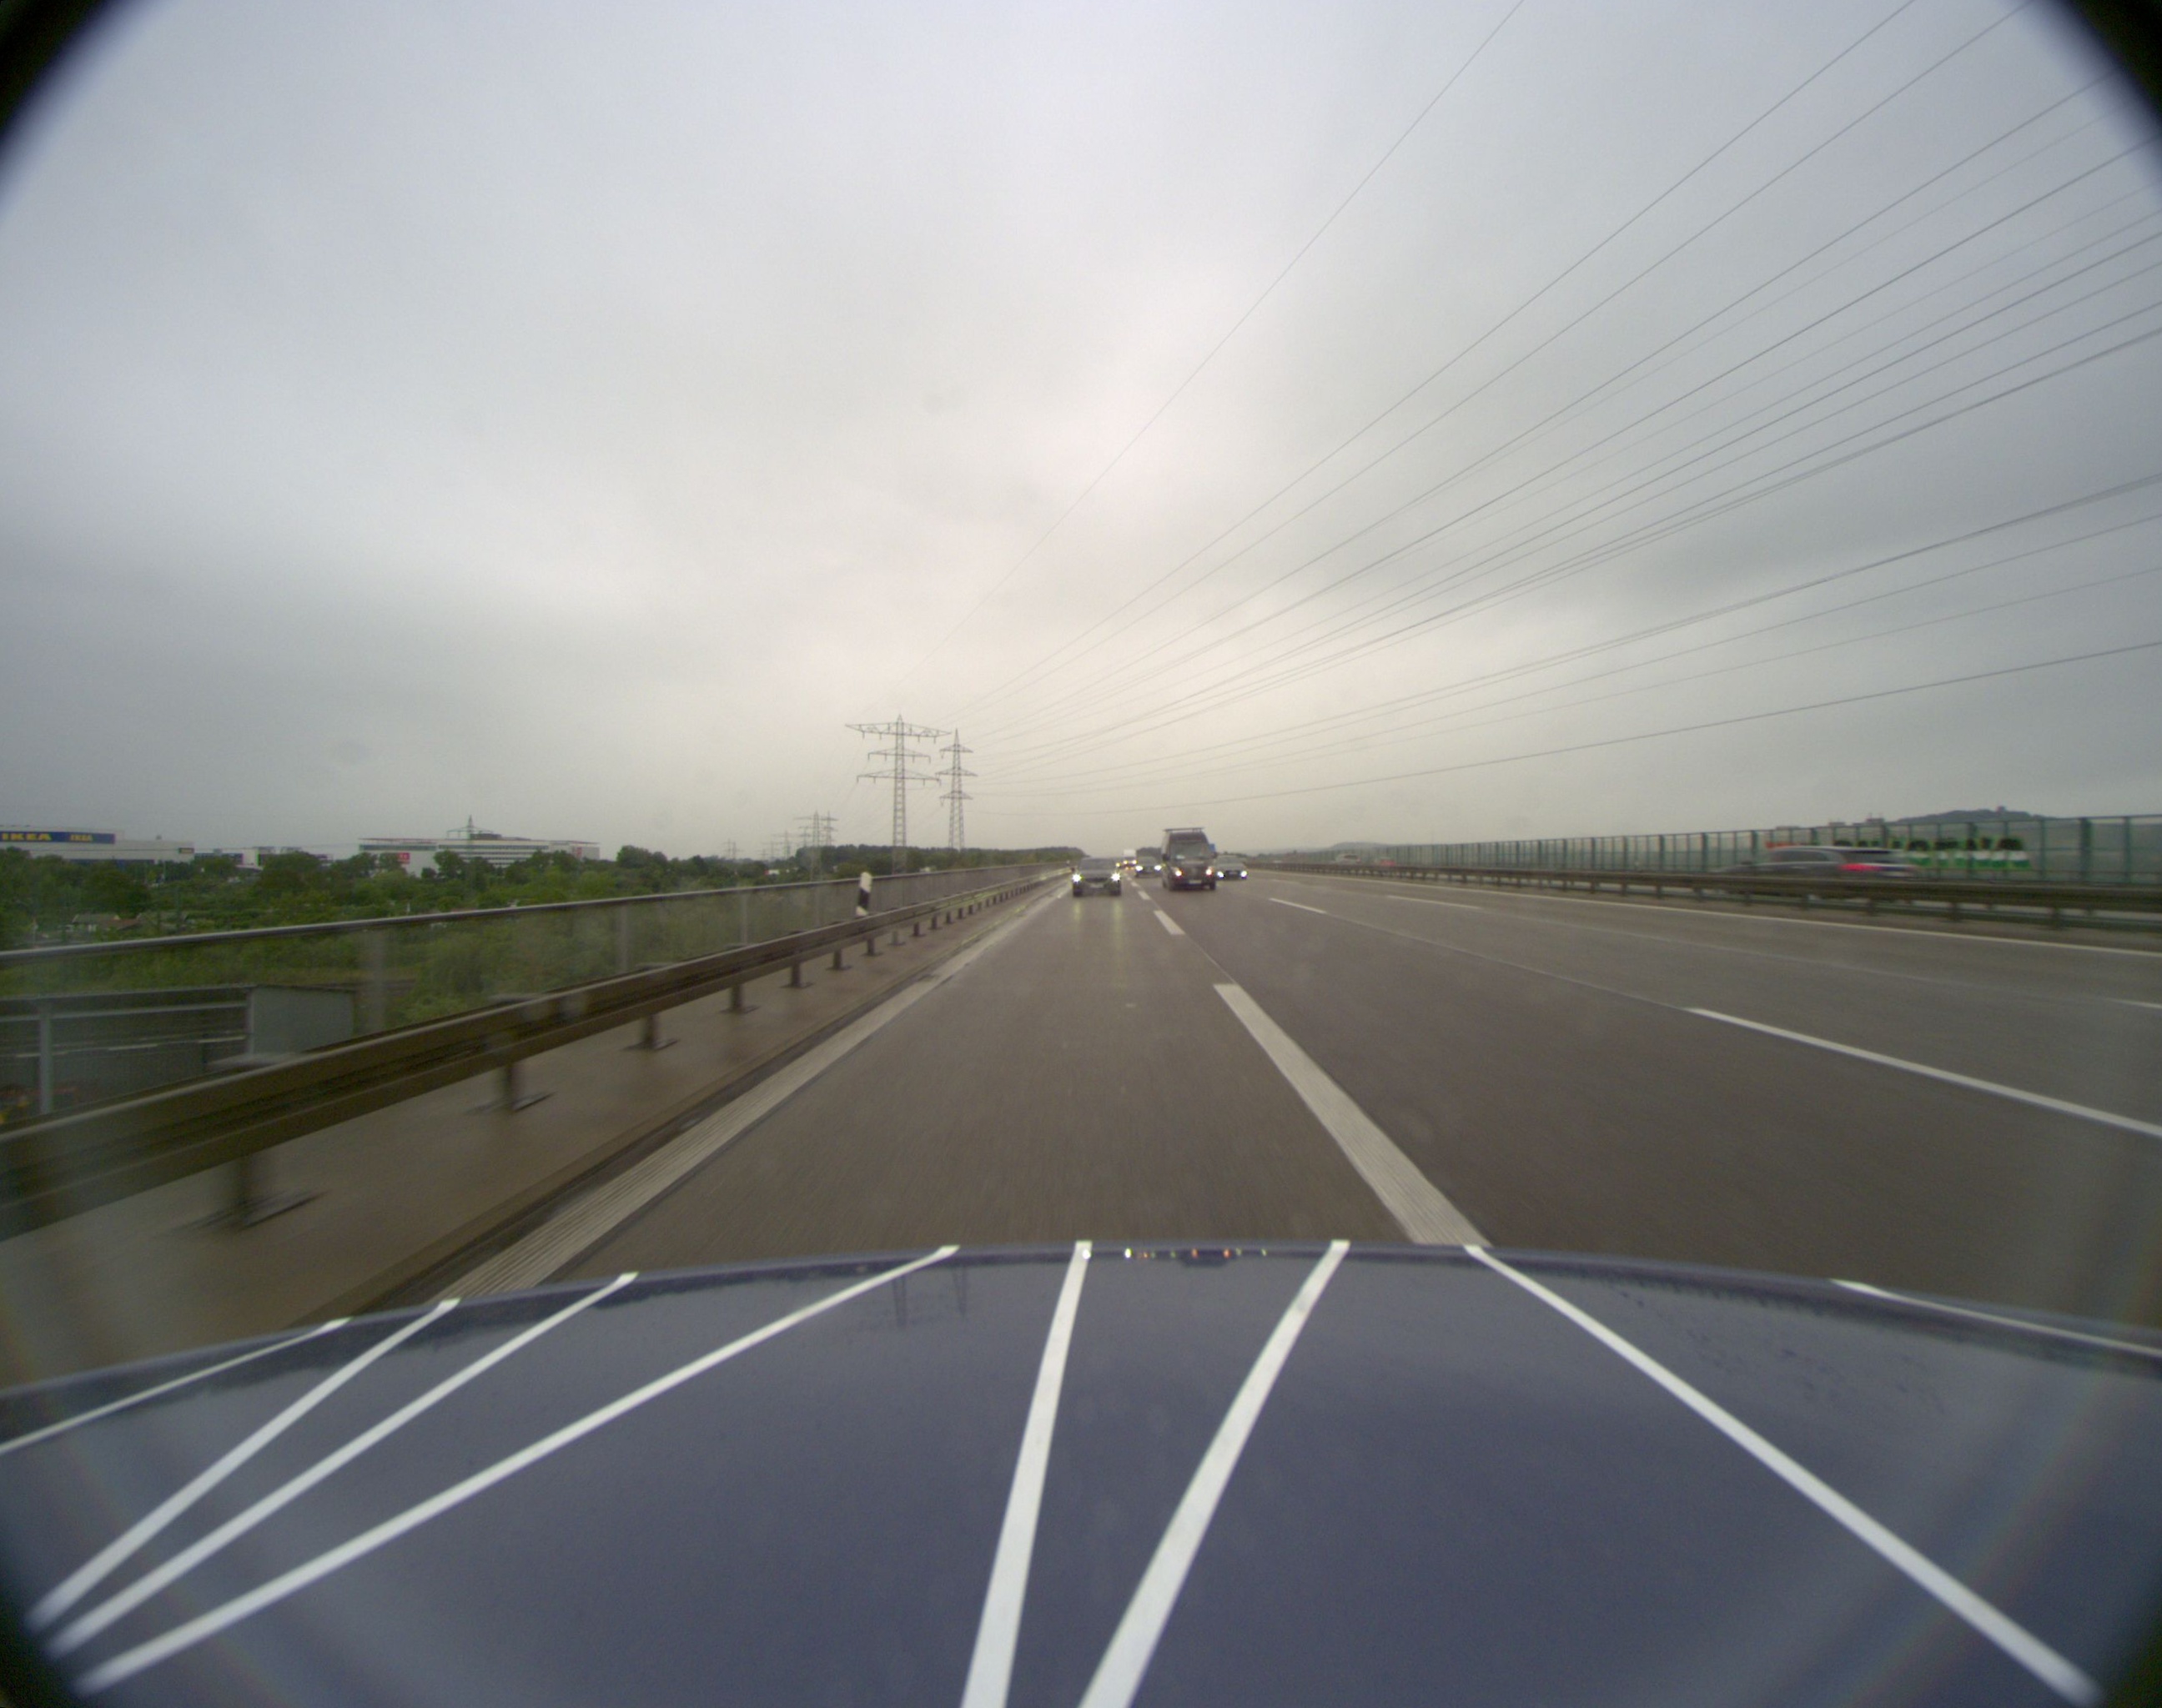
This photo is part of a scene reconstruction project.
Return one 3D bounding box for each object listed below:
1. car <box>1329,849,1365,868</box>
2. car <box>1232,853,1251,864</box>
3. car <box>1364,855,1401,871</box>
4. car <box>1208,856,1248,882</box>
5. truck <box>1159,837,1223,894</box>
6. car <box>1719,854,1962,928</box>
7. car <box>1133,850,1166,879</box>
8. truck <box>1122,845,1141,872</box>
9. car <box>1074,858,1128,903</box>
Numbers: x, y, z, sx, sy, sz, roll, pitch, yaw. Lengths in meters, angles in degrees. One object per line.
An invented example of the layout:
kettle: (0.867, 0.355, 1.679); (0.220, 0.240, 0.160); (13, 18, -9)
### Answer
car: (25.278, 0.386, 72.419); (1.846, 1.734, 4.468); (2, 0, 1)
car: (23.097, 0.640, 109.190); (1.846, 1.422, 4.468); (2, 0, 1)
car: (29.540, 0.863, 74.612); (1.846, 1.422, 4.468); (2, 0, 1)
car: (8.721, 0.893, 45.349); (1.729, 1.394, 4.831); (-2, -1, 4)
truck: (4.826, 0.426, 34.220); (1.998, 2.324, 6.110); (-1, 1, 0)
car: (18.959, 0.836, 19.310); (1.998, 1.549, 4.214); (-2, 1, 1)
car: (5.004, 0.773, 56.274); (1.998, 2.002, 4.785); (-1, 0, 1)
truck: (8.345, 0.839, 126.149); (2.703, 4.171, 8.926); (-2, -1, 1)
car: (0.756, 0.966, 29.210); (1.862, 1.531, 4.203); (-2, 0, 1)
